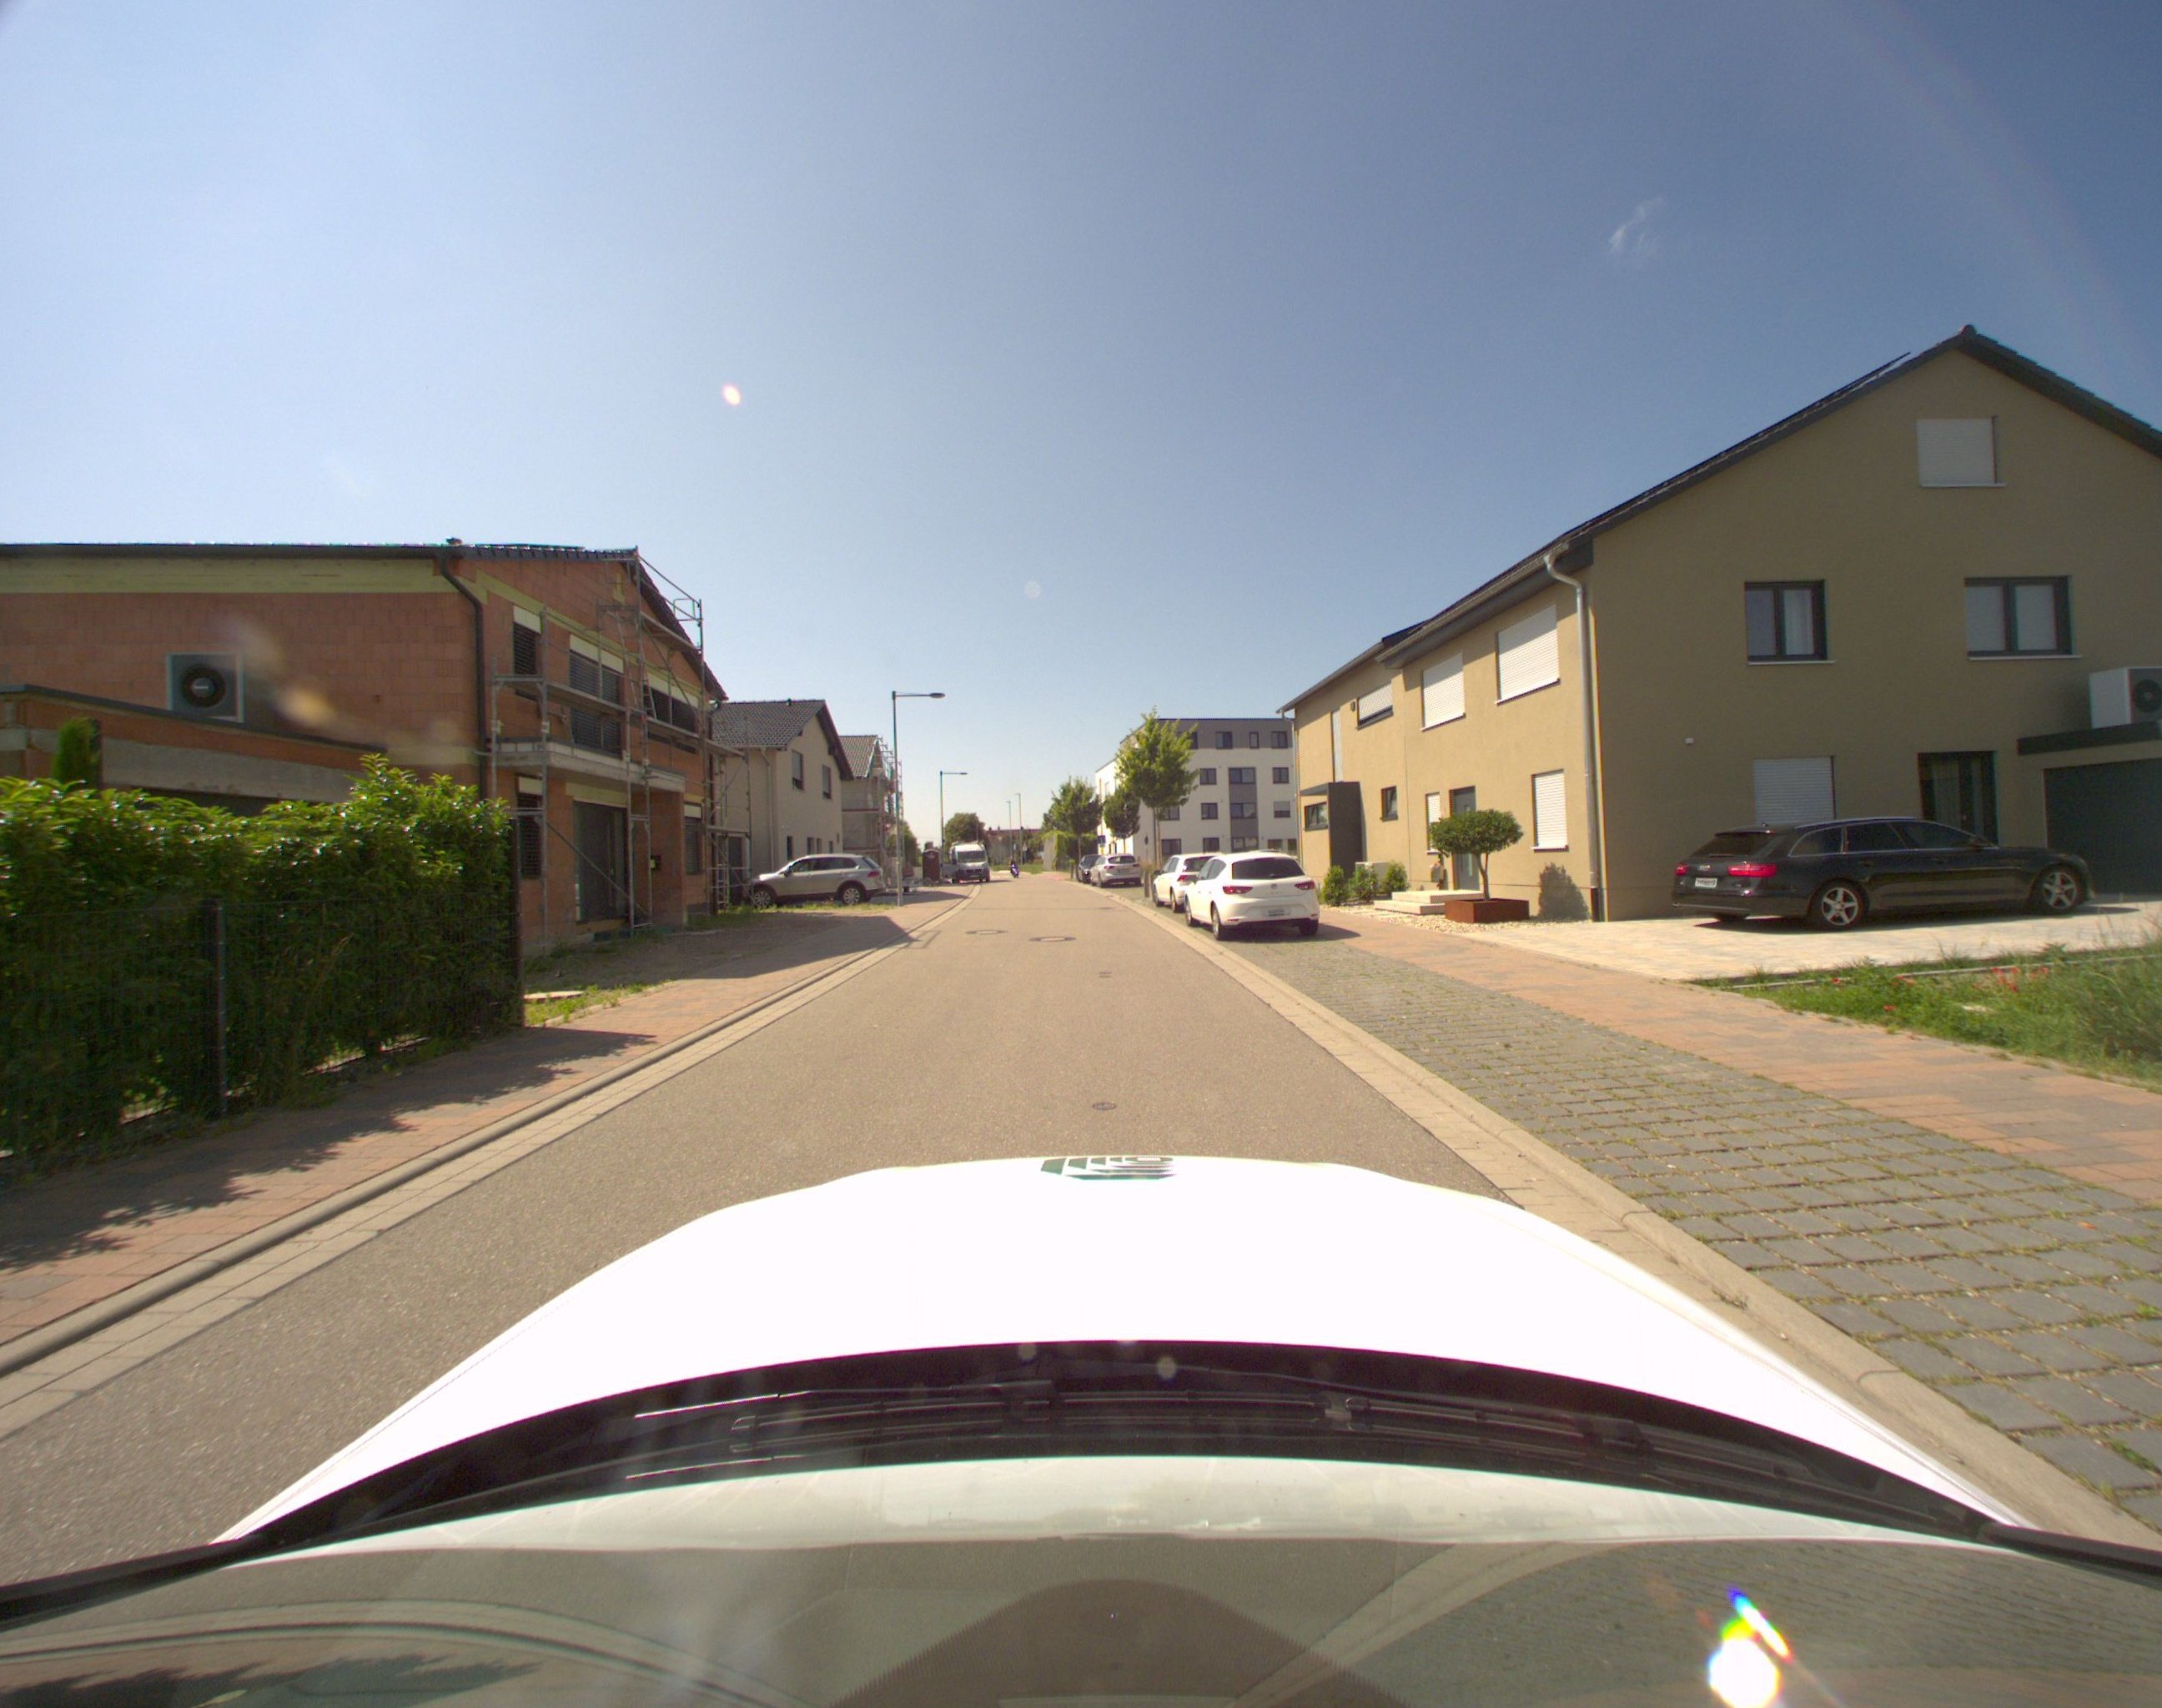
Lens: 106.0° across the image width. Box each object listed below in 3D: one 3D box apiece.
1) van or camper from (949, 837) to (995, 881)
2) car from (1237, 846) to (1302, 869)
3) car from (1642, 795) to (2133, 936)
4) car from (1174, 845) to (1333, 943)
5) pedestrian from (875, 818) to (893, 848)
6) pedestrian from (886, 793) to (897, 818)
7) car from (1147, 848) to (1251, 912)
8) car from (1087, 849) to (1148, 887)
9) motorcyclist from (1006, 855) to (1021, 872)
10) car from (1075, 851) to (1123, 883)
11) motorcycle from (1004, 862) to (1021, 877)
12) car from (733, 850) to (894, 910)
[{"bbox_3d":[-6.999,0.349,51.809,2.275,2.553,6.338,-2,-1,-13],"label":"van or camper"},{"bbox_3d":[13.465,0.238,58.282,4.157,1.435,1.877,-2,-1,-9],"label":"car"},{"bbox_3d":[10.950,0.136,11.341,4.874,1.426,1.999,-4,0,-1],"label":"car"},{"bbox_3d":[3.030,0.647,15.358,1.810,1.456,4.560,-3,0,-2],"label":"car"},{"bbox_3d":[-11.350,-1.184,46.830,0.571,1.680,0.753,-5,-3,41],"label":"pedestrian"},{"bbox_3d":[-12.037,-3.060,51.748,0.561,1.500,0.746,-2,-2,-10],"label":"pedestrian"},{"bbox_3d":[3.006,0.606,21.718,1.776,1.426,4.508,-3,1,-4],"label":"car"},{"bbox_3d":[1.578,0.608,37.621,1.917,1.511,5.282,-3,1,-7],"label":"car"},{"bbox_3d":[-4.956,0.705,59.749,0.925,1.222,0.801,-2,0,-11],"label":"motorcyclist"},{"bbox_3d":[0.884,0.645,43.636,1.915,1.469,5.130,-3,1,-5],"label":"car"},{"bbox_3d":[-5.054,1.150,60.132,0.956,1.035,2.427,-2,1,-11],"label":"motorcycle"},{"bbox_3d":[-8.328,0.783,25.734,4.421,1.612,1.995,-2,0,-7],"label":"car"}]
